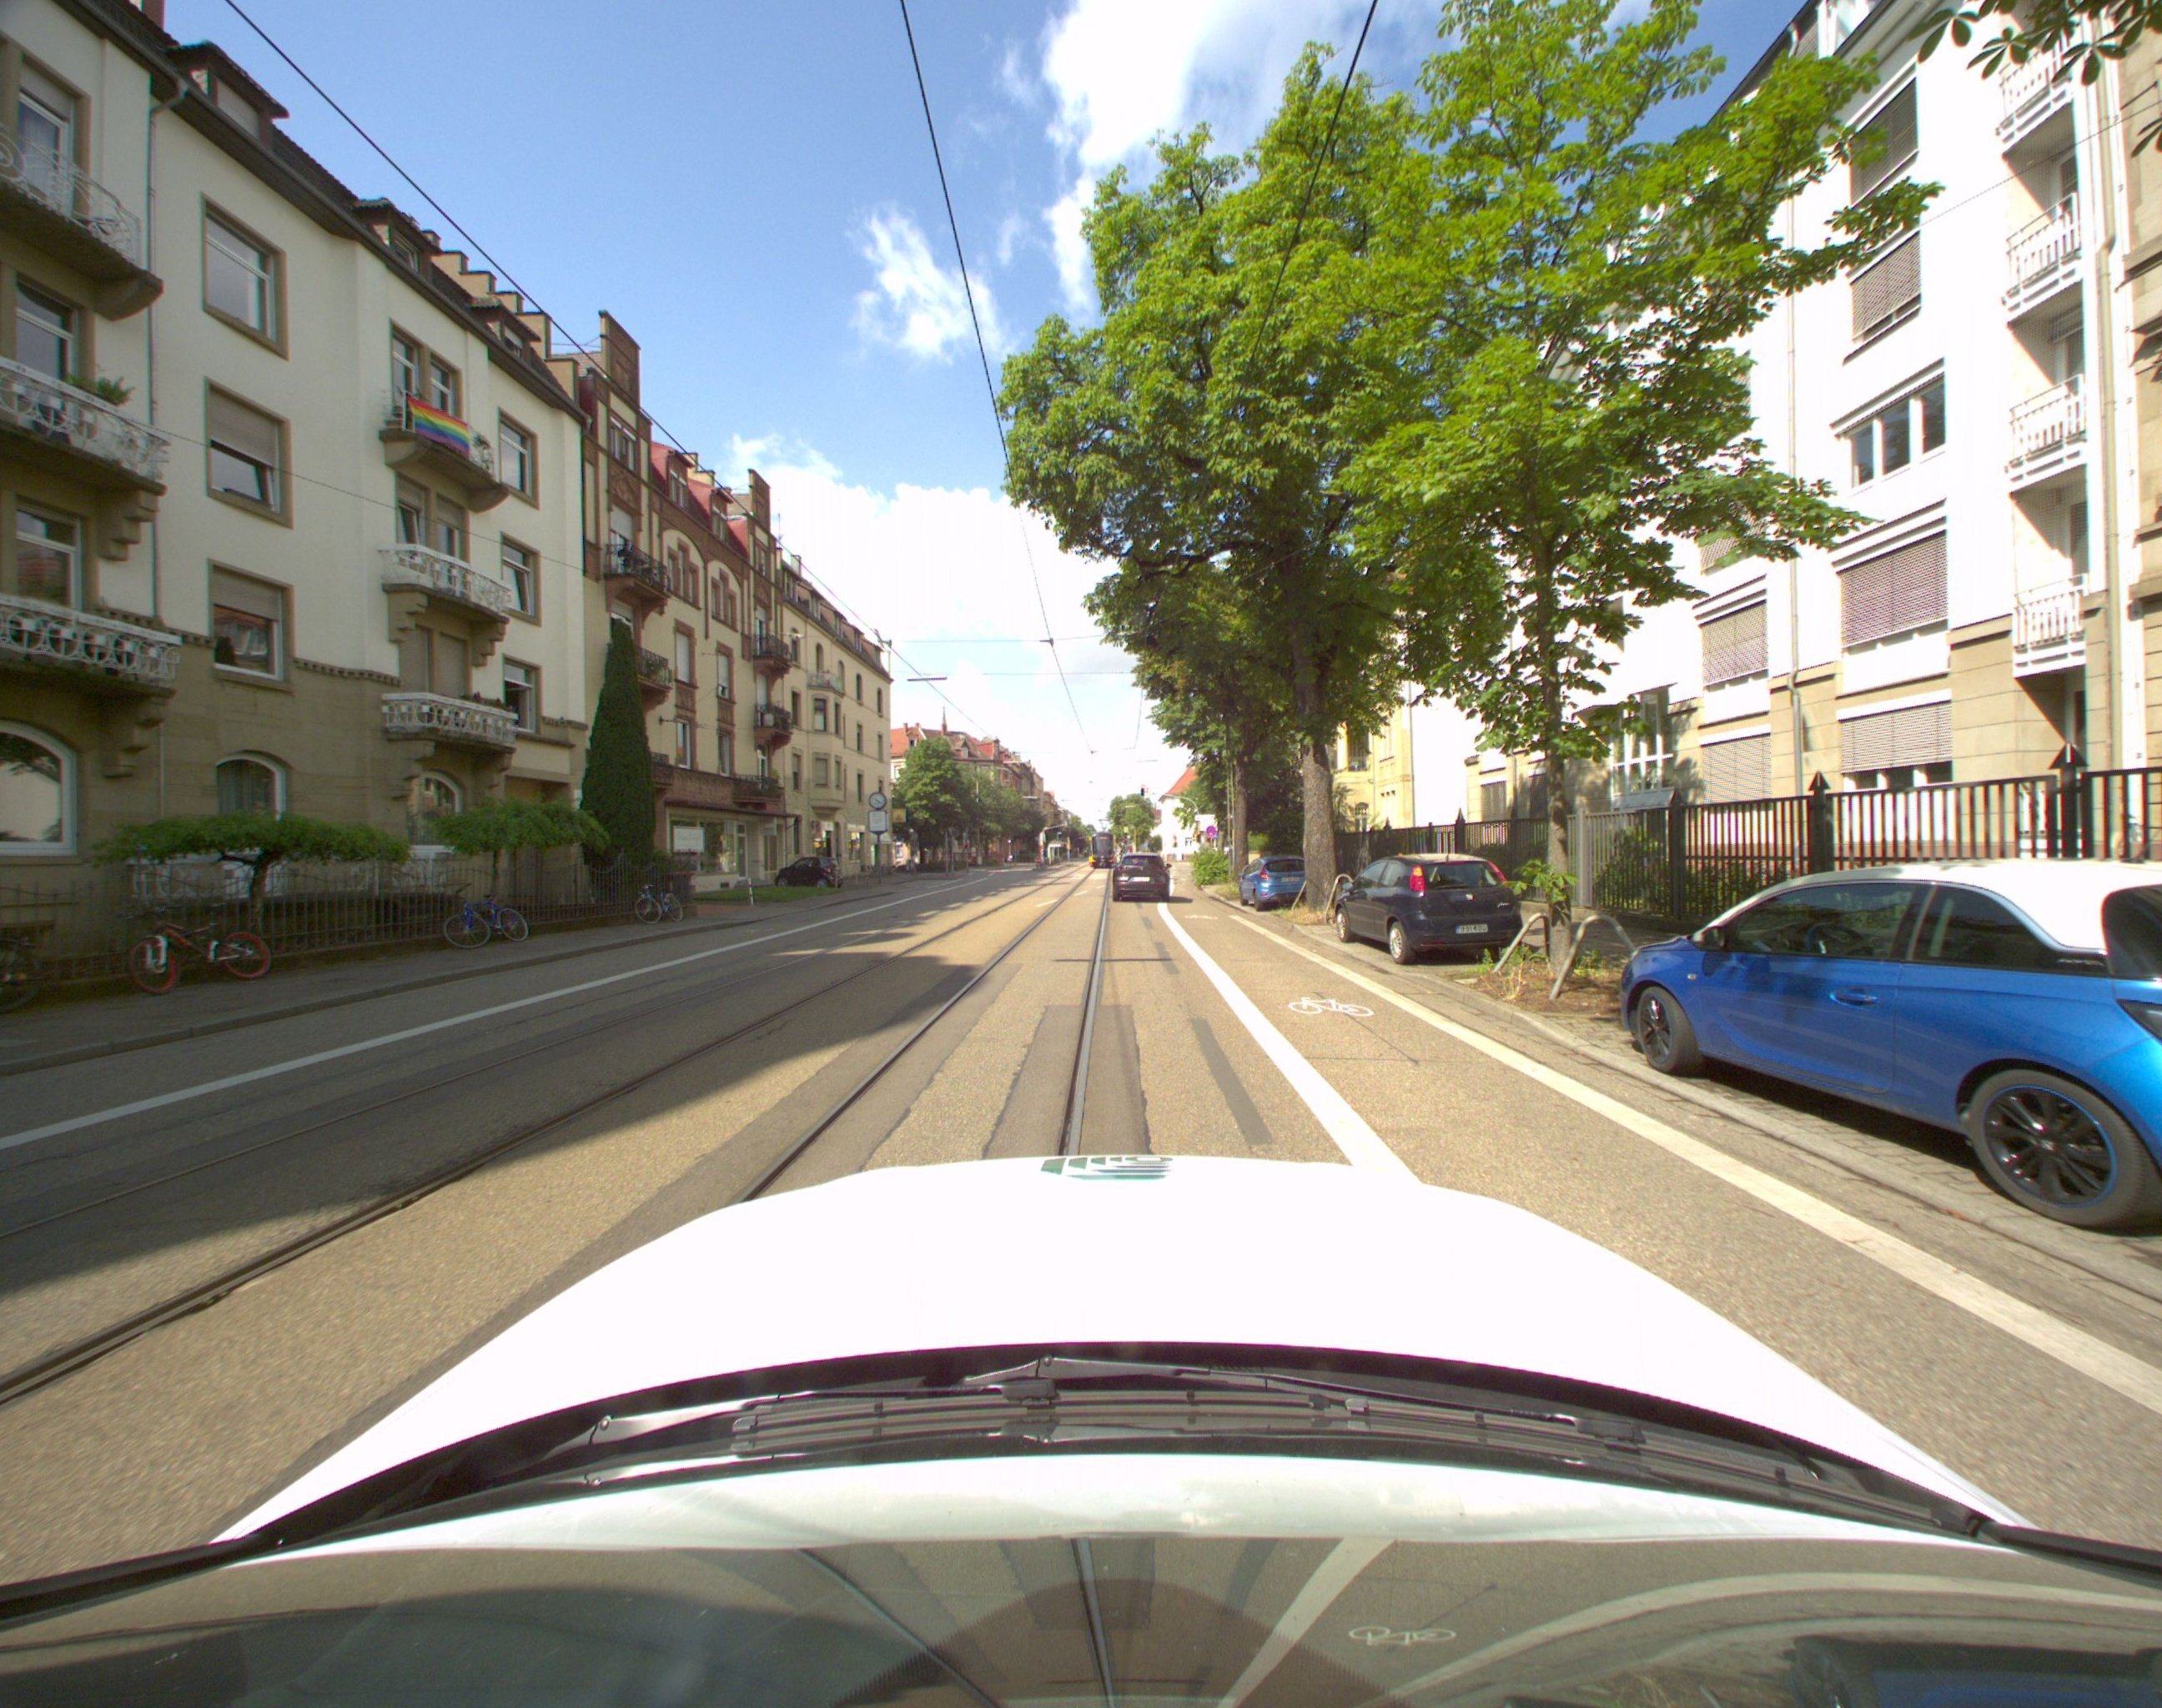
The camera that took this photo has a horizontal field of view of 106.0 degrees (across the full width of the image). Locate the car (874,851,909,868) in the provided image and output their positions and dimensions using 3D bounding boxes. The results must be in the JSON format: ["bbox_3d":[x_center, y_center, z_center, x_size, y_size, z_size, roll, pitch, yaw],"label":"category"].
[{"bbox_3d":[-26.235,0.720,112.847,4.093,2.013,2.007,-5,0,11],"label":"car"}]

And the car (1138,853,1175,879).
[{"bbox_3d":[4.648,0.698,50.678,1.779,1.492,4.882,-2,0,0],"label":"car"}]

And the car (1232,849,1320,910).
[{"bbox_3d":[5.425,0.664,23.086,1.618,1.496,3.849,-3,0,2],"label":"car"}]

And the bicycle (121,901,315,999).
[{"bbox_3d":[-10.493,1.121,10.002,0.381,0.975,1.803,0,0,4],"label":"bicycle"}]

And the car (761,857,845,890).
[{"bbox_3d":[-12.838,0.887,37.694,3.221,1.513,1.681,0,0,5],"label":"car"}]

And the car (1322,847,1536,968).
[{"bbox_3d":[5.119,0.698,12.555,1.634,1.496,3.757,-3,0,0],"label":"car"}]

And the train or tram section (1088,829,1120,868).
[{"bbox_3d":[2.165,-0.508,80.227,2.644,3.527,8.492,-2,0,-1],"label":"train or tram section"}]

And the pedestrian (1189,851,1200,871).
[{"bbox_3d":[9.102,0.579,65.384,0.870,1.605,0.632,-1,0,5],"label":"pedestrian"}]

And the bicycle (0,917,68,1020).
[{"bbox_3d":[-10.714,1.134,7.522,0.381,0.959,1.803,0,0,4],"label":"bicycle"}]

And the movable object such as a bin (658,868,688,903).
[{"bbox_3d":[-12.972,0.992,25.911,0.589,1.069,0.611,1,0,36],"label":"movable object such as a bin"}]

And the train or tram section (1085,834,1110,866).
[{"bbox_3d":[1.892,-0.409,97.205,2.644,3.527,8.492,-2,0,-1],"label":"train or tram section"}]

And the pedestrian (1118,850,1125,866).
[{"bbox_3d":[4.048,0.381,82.235,0.665,1.605,0.700,-1,0,0],"label":"pedestrian"}]

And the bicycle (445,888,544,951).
[{"bbox_3d":[-10.317,1.123,14.402,0.424,0.959,1.707,0,0,4],"label":"bicycle"}]

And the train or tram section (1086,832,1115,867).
[{"bbox_3d":[2.039,-0.457,88.746,2.644,3.527,8.492,-2,0,-1],"label":"train or tram section"}]

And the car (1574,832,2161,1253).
[{"bbox_3d":[4.778,0.677,4.704,1.634,1.496,3.627,-3,0,0],"label":"car"}]

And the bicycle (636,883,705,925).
[{"bbox_3d":[-10.021,1.199,19.961,0.508,0.959,1.819,1,-1,9],"label":"bicycle"}]

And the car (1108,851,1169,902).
[{"bbox_3d":[1.807,0.682,26.732,1.783,1.512,4.351,0,0,1],"label":"car"}]
